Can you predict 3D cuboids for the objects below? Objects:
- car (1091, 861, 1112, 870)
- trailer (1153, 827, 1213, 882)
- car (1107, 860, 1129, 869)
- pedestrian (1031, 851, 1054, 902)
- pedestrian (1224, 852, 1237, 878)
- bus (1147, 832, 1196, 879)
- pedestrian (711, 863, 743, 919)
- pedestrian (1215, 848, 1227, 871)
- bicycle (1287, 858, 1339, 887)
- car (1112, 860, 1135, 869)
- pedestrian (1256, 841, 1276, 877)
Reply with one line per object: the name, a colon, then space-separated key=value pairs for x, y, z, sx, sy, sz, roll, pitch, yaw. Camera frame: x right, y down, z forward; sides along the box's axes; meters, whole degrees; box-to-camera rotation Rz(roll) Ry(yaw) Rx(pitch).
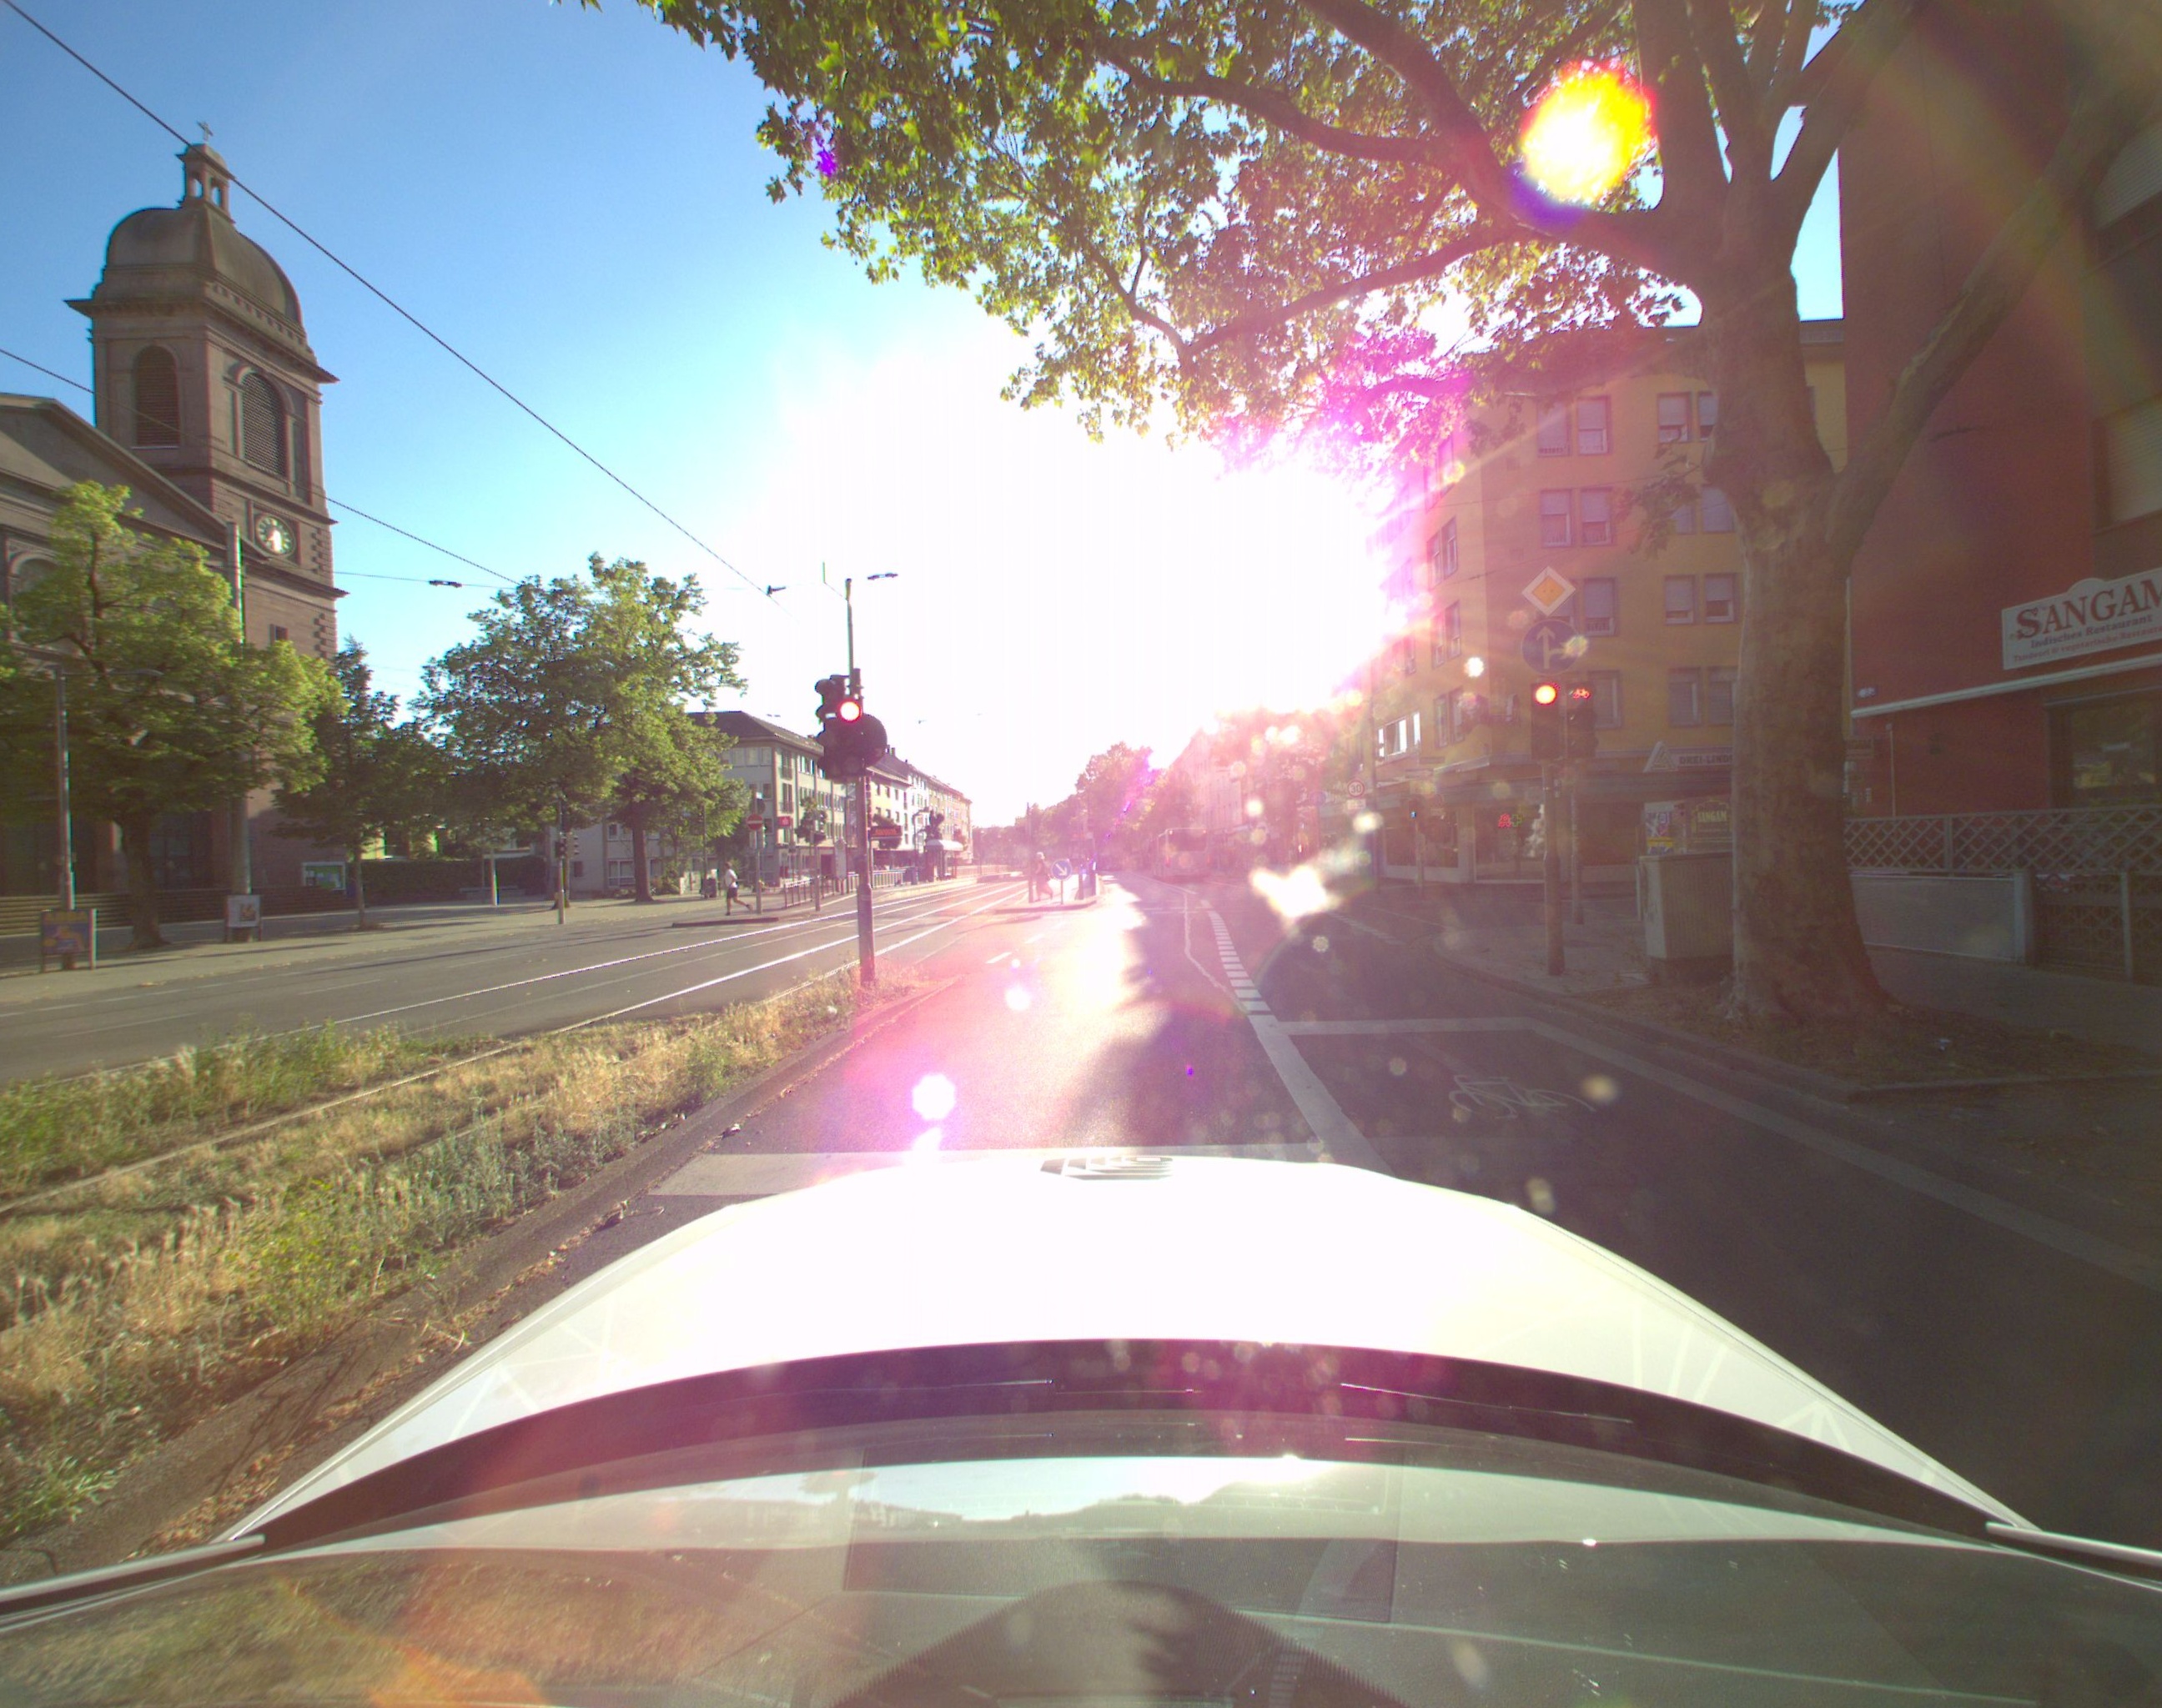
car: x=4.125 y=2.315 z=166.459 sx=3.911 sy=1.596 sz=1.676 roll=-2 pitch=0 yaw=-27
trailer: x=6.105 y=0.059 z=50.031 sx=2.801 sy=3.110 sz=8.797 roll=0 pitch=0 yaw=2
car: x=7.368 y=2.136 z=161.339 sx=3.911 sy=1.699 sz=1.817 roll=-2 pitch=0 yaw=-27
pedestrian: x=-1.371 y=0.791 z=29.189 sx=0.677 sy=1.770 sz=0.687 roll=-2 pitch=0 yaw=2
pedestrian: x=9.422 y=0.694 z=51.315 sx=0.674 sy=1.628 sz=0.656 roll=0 pitch=-1 yaw=2
bus: x=6.393 y=0.122 z=58.976 sx=2.801 sy=3.101 sz=9.097 roll=0 pitch=0 yaw=2
pedestrian: x=-11.488 y=1.179 z=26.439 sx=0.678 sy=1.770 sz=0.686 roll=-2 pitch=0 yaw=-2
pedestrian: x=12.048 y=0.453 z=70.012 sx=0.856 sy=1.883 sz=0.898 roll=-2 pitch=0 yaw=3
bicycle: x=8.898 y=0.705 z=31.244 sx=1.766 sy=1.021 sz=0.694 roll=-4 pitch=-1 yaw=1
car: x=8.268 y=2.054 z=158.713 sx=3.911 sy=1.699 sz=1.817 roll=-2 pitch=0 yaw=-27
pedestrian: x=10.438 y=0.282 z=45.993 sx=0.950 sy=2.014 sz=0.917 roll=0 pitch=-1 yaw=0
